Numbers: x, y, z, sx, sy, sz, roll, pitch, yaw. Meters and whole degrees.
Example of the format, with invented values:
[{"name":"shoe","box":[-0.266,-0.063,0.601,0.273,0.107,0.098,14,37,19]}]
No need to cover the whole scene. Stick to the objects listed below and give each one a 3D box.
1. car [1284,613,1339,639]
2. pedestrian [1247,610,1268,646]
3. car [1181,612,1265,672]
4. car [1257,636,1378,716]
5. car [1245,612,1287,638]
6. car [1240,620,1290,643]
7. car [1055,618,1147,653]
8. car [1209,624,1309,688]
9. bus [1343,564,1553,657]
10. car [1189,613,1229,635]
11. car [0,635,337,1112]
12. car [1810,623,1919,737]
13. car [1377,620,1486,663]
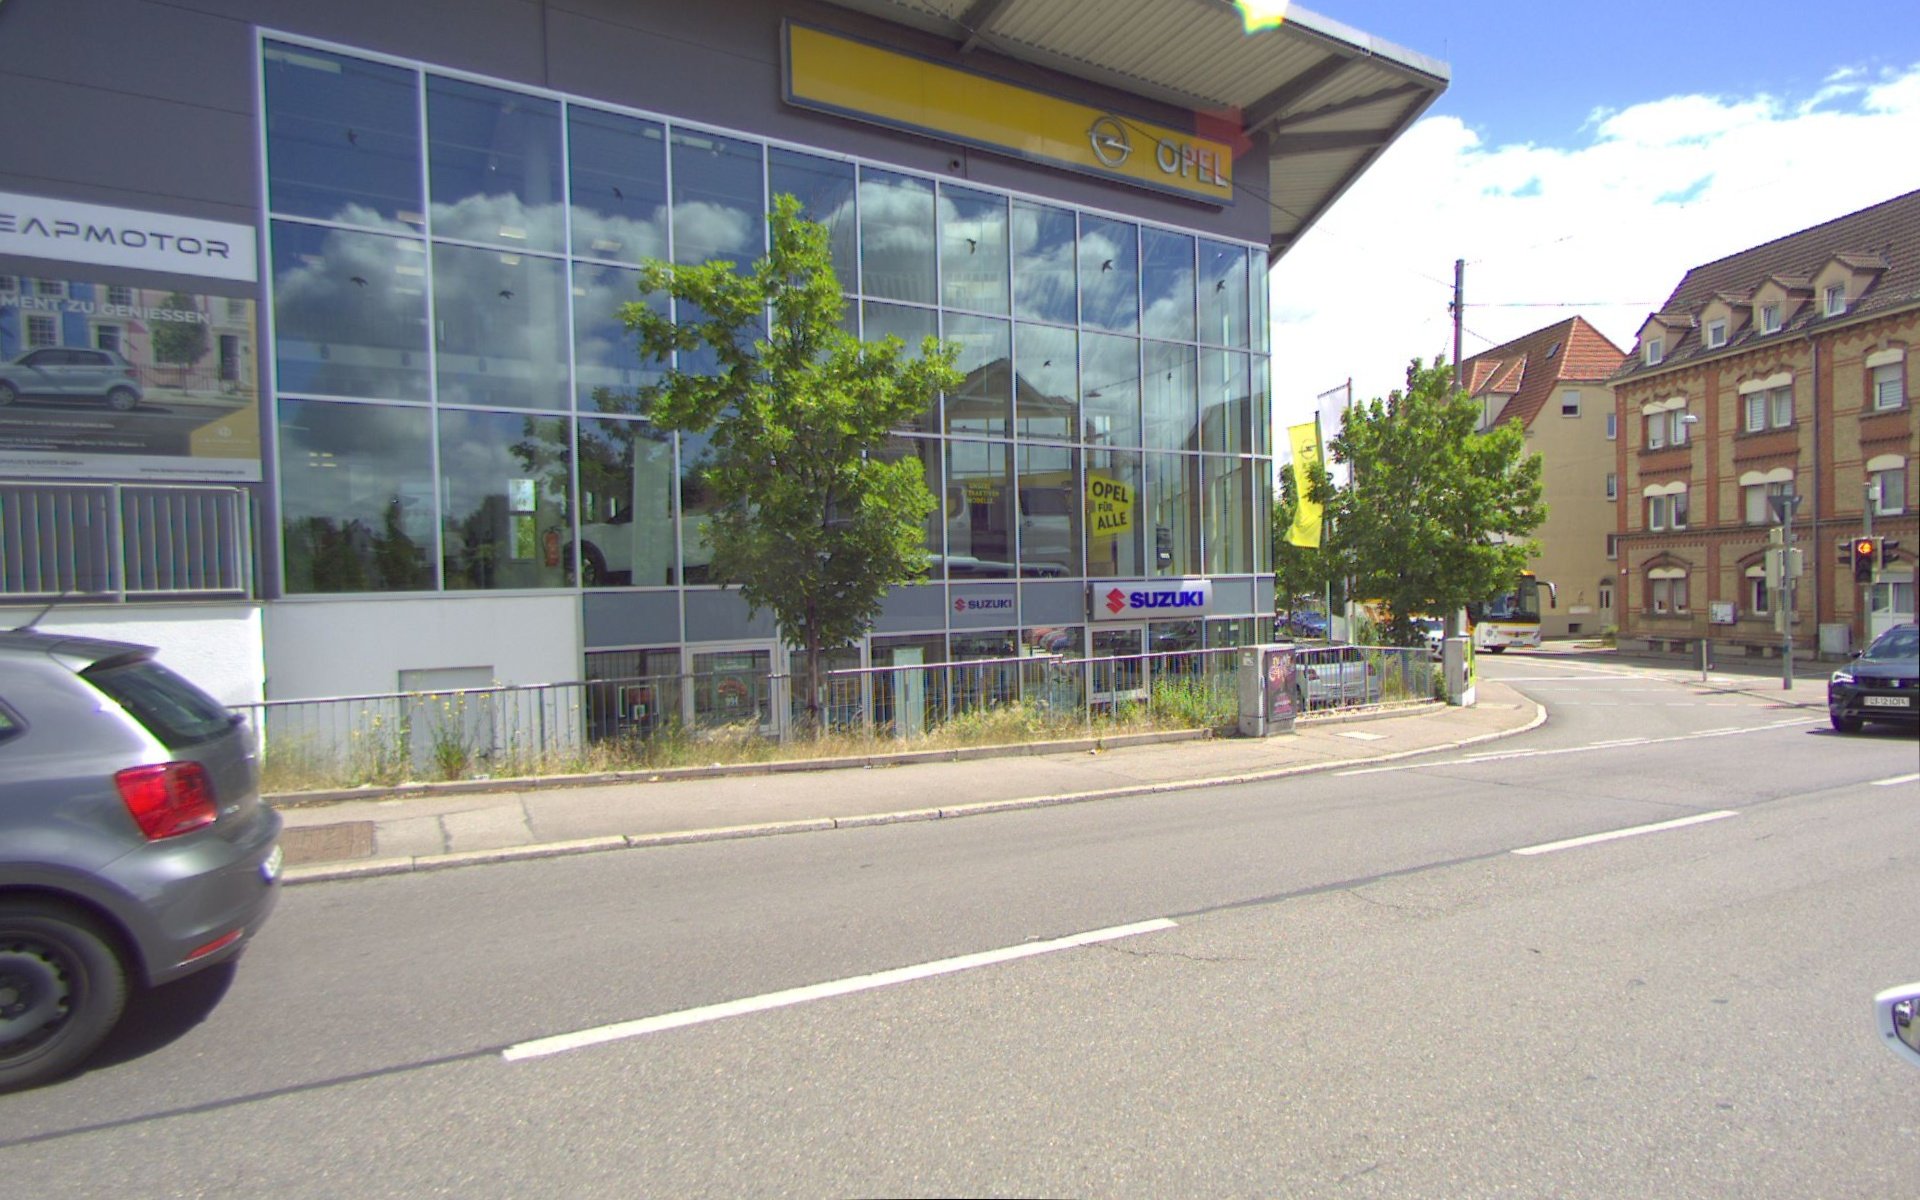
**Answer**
[{"name":"car","box":[20.575,1.498,58.949,1.717,1.428,3.999,1,-1,-3]},{"name":"pedestrian","box":[14.589,1.360,49.276,0.744,1.757,1.145,1,-1,2]},{"name":"car","box":[8.199,1.274,31.558,1.620,1.703,3.499,-1,0,-2]},{"name":"car","box":[8.221,1.710,23.379,1.648,1.582,3.365,-1,0,1]},{"name":"car","box":[21.678,1.755,71.304,1.789,1.773,4.000,0,-1,0]},{"name":"car","box":[20.018,2.072,66.071,1.874,1.428,3.999,1,-1,-2]},{"name":"car","box":[6.615,1.669,47.317,3.925,1.574,1.805,1,-1,-7]},{"name":"car","box":[8.127,1.483,27.582,1.584,1.547,3.499,-1,0,-2]},{"name":"bus","box":[21.799,0.324,46.161,2.719,3.670,12.253,1,1,-5]},{"name":"car","box":[18.436,1.779,74.442,1.874,1.574,3.999,1,-1,-2]},{"name":"car","box":[-4.252,0.863,3.278,3.690,1.431,1.750,1,-3,-31]},{"name":"car","box":[14.518,1.115,14.866,3.911,1.542,1.750,1,-2,-30]},{"name":"car","box":[17.861,1.544,38.286,1.799,1.572,4.303,0,-1,-6]}]
